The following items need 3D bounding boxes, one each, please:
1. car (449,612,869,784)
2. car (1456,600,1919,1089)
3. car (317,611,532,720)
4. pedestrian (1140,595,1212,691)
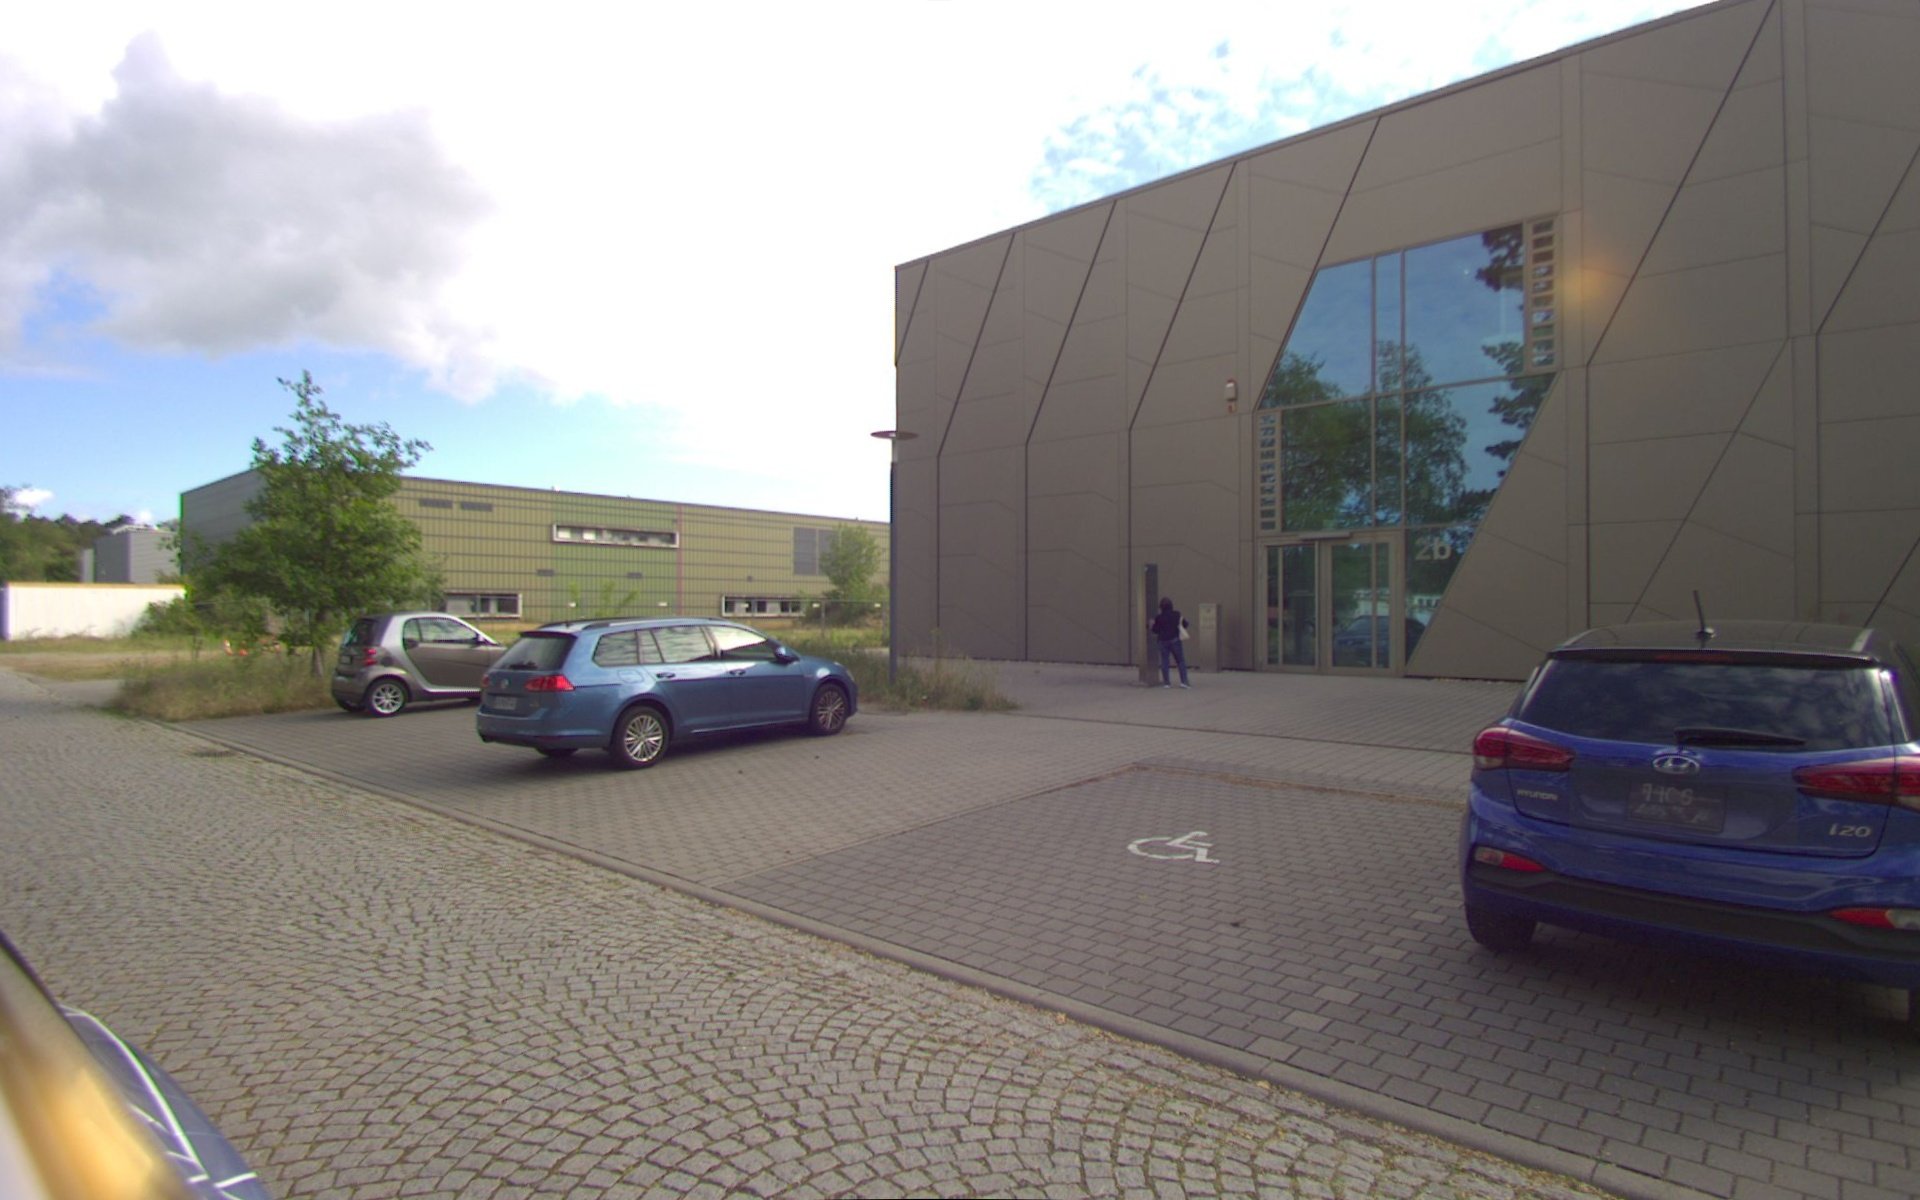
[{"bbox_3d":[-3.123,0.909,11.291,1.771,1.439,4.265,-1,0,38],"label":"car"},{"bbox_3d":[3.995,0.780,4.855,1.852,1.489,3.724,-1,0,44],"label":"car"},{"bbox_3d":[-8.526,0.974,16.200,1.609,1.522,2.627,-1,0,40],"label":"car"},{"bbox_3d":[3.538,0.689,16.566,0.817,1.506,0.974,-1,-1,37],"label":"pedestrian"}]
